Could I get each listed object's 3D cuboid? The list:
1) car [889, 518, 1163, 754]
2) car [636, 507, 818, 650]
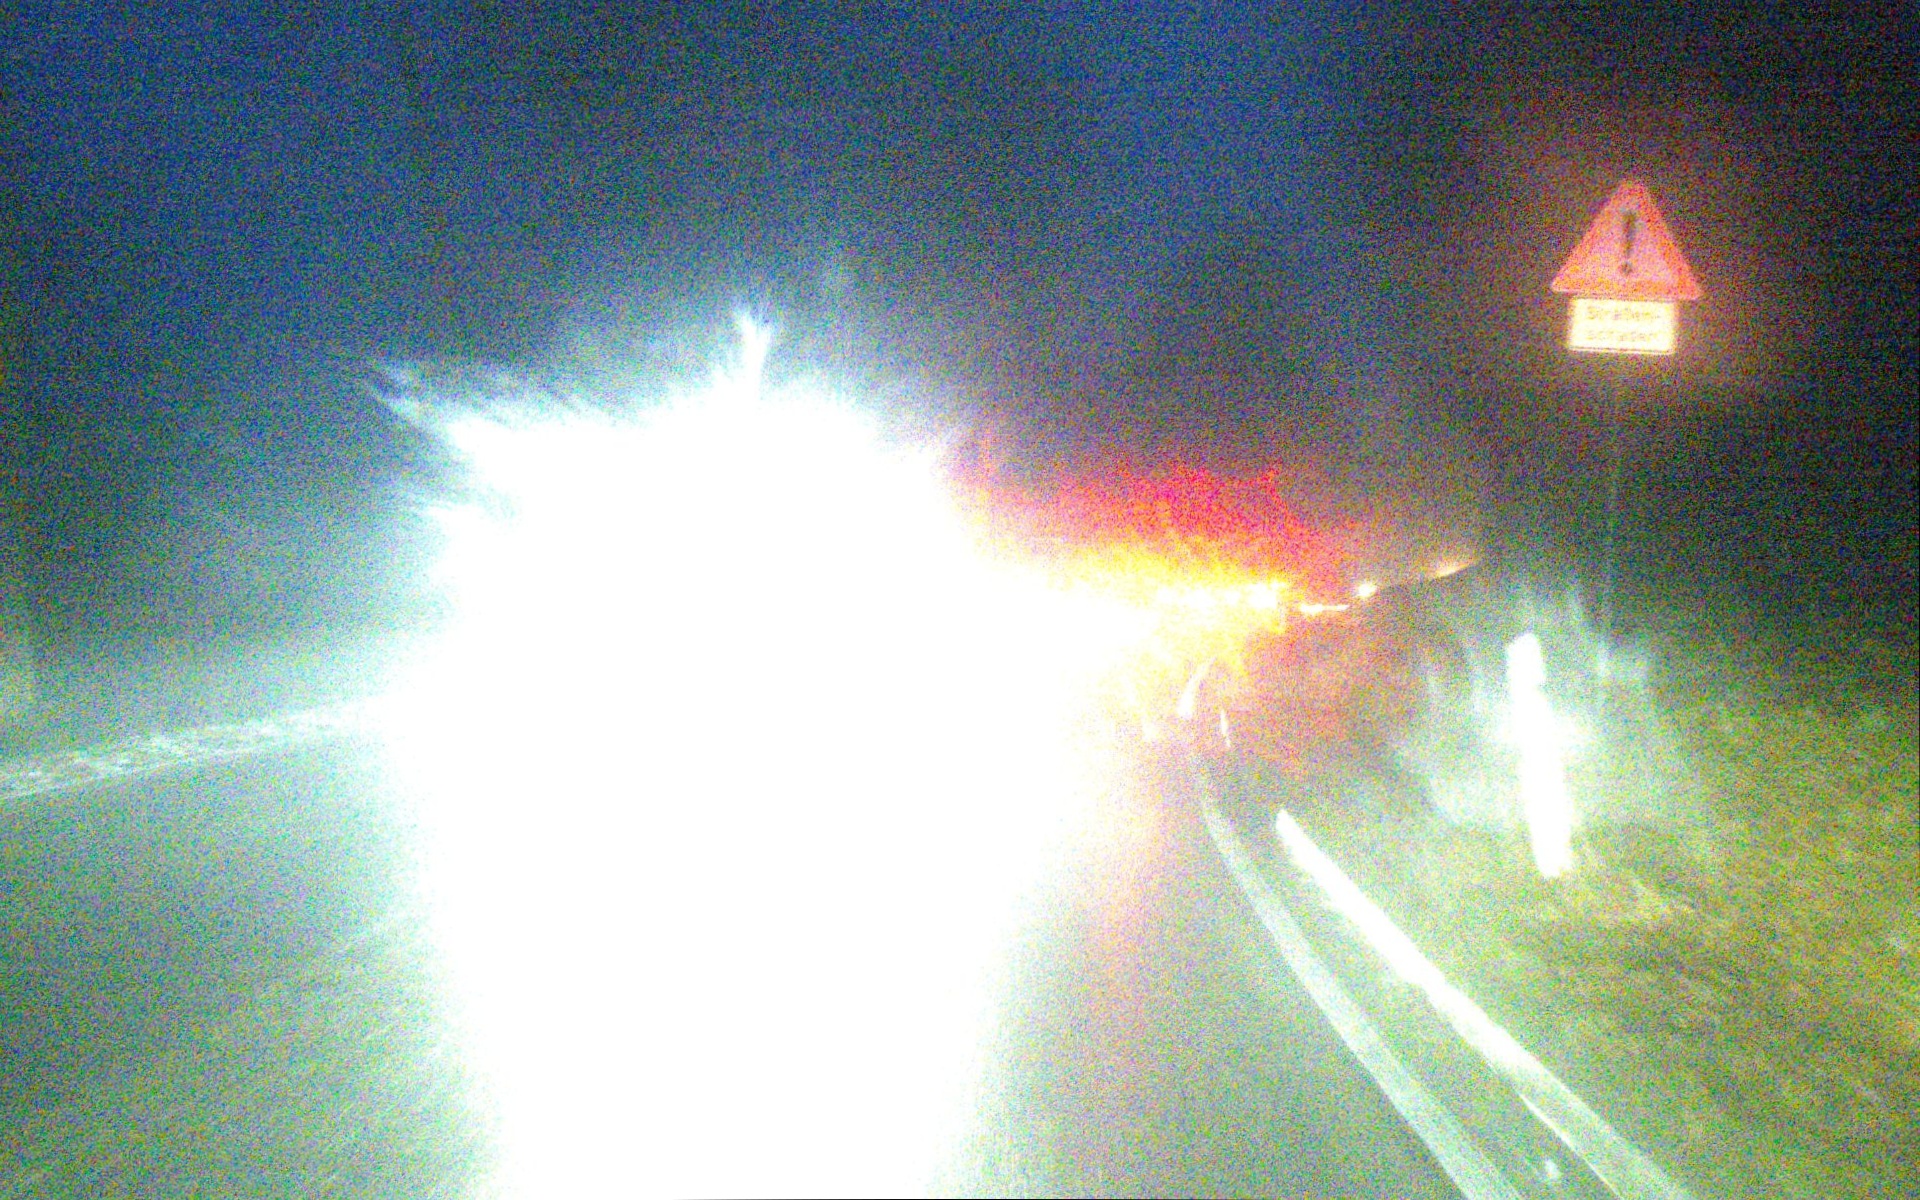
[{"bbox_3d":[0.497,0.249,29.744,1.993,1.800,3.918,-3,1,-3],"label":"car"},{"bbox_3d":[-2.905,-0.314,43.590,1.842,1.714,3.960,0,1,3],"label":"car"}]
